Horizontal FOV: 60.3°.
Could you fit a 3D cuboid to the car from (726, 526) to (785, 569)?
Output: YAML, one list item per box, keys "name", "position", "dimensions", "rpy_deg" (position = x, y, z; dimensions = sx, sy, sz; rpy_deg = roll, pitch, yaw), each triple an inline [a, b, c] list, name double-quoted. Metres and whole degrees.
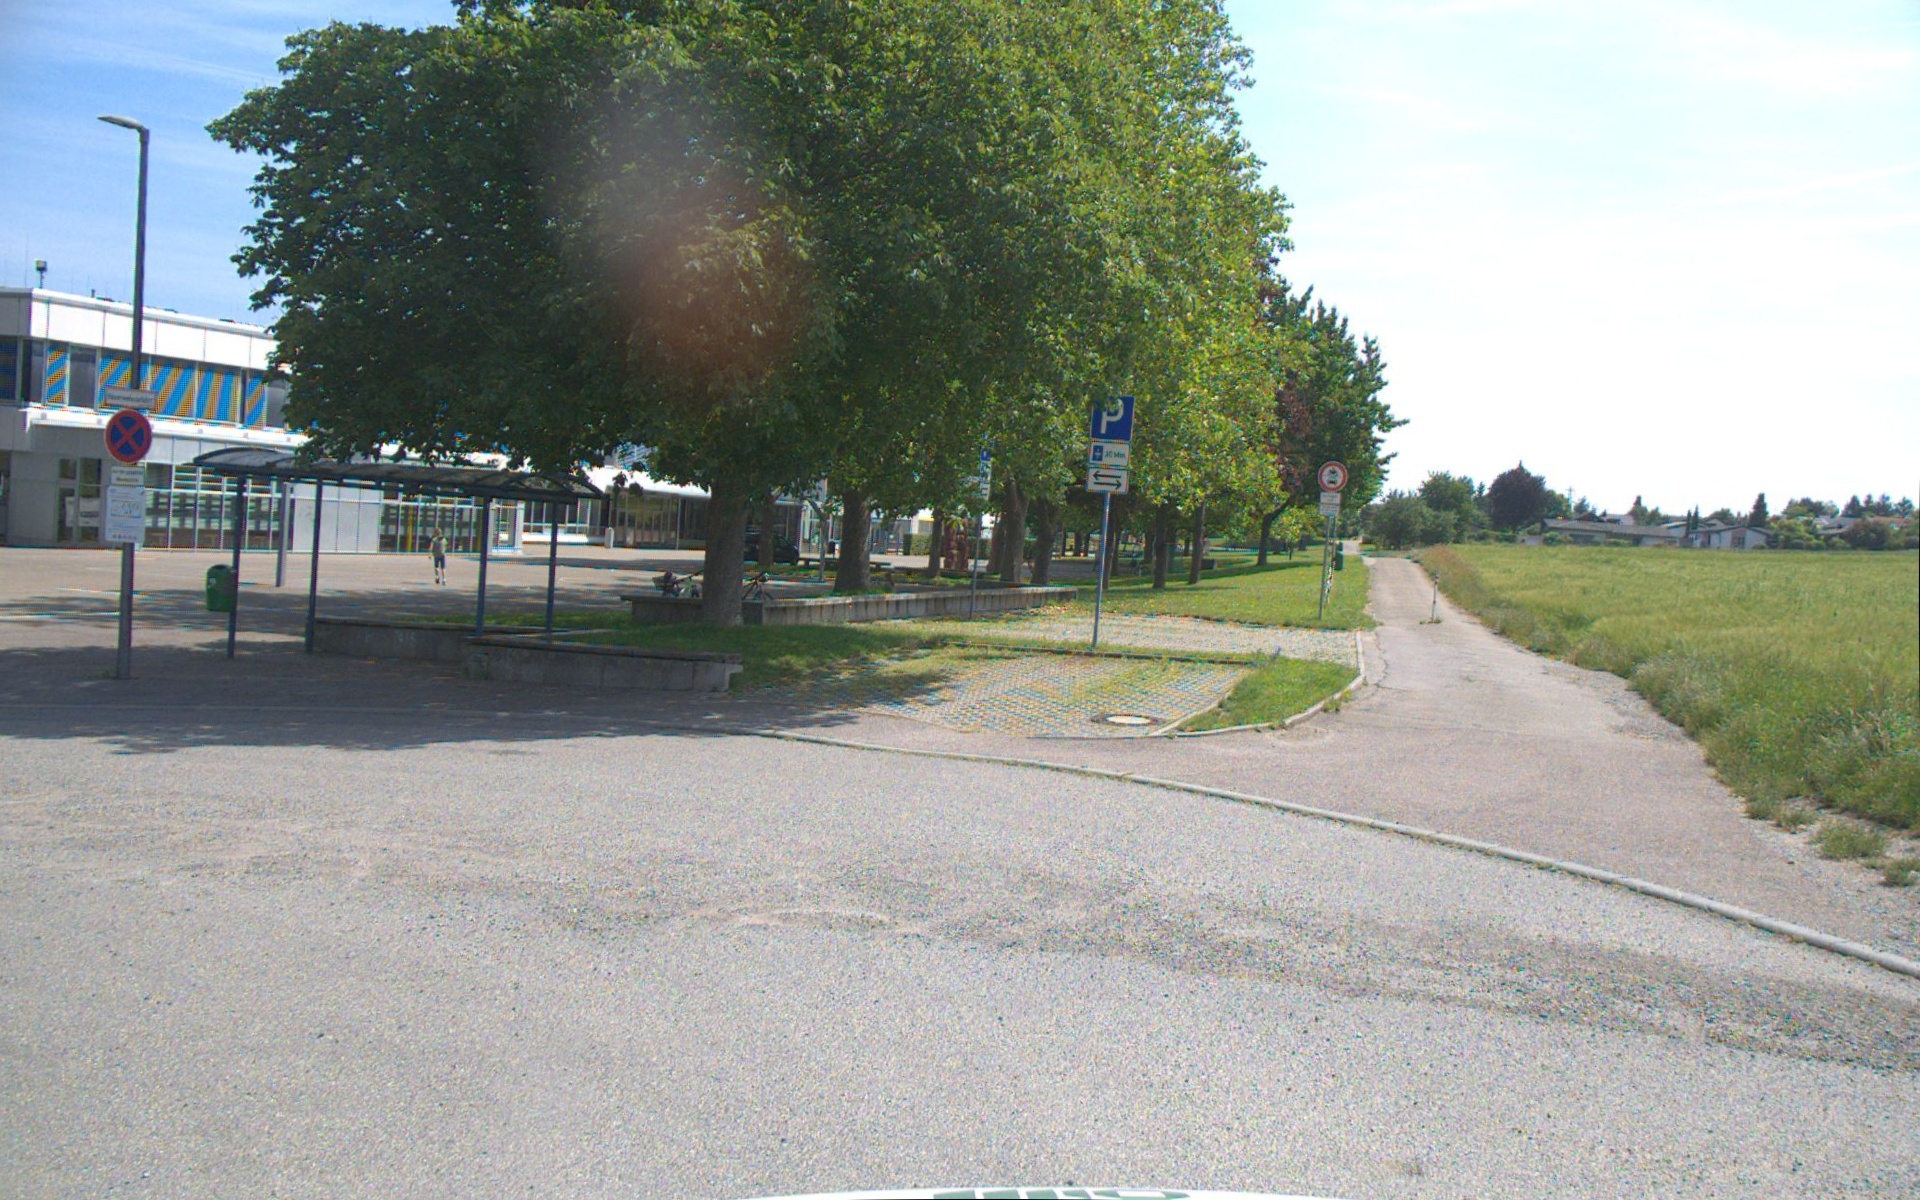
- name: "car"
  position: [-9.375, -2.399, 76.040]
  dimensions: [1.655, 1.866, 3.414]
  rpy_deg: [3, 2, 10]

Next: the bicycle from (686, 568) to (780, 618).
- name: "bicycle"
  position: [-5.149, -0.170, 37.562]
  dimensions: [2.019, 1.057, 0.572]
  rpy_deg: [2, 1, 4]

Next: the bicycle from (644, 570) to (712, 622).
- name: "bicycle"
  position: [-6.055, -0.104, 35.592]
  dimensions: [0.582, 1.057, 1.893]
  rpy_deg: [2, 2, 19]

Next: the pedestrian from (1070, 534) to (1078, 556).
- name: "pedestrian"
  position: [10.819, -5.192, 157.021]
  dimensions: [0.707, 2.049, 0.683]
  rpy_deg: [0, 1, 15]

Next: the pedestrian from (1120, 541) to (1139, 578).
- name: "pedestrian"
  position: [9.473, -2.259, 92.489]
  dimensions: [0.672, 2.048, 0.799]
  rpy_deg: [3, 1, -20]

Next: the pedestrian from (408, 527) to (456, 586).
- name: "pedestrian"
  position: [-13.705, -1.127, 42.923]
  dimensions: [0.908, 1.448, 1.057]
  rpy_deg: [2, 2, -34]

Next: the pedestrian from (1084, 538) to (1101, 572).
- name: "pedestrian"
  position: [8.101, -2.748, 101.170]
  dimensions: [0.816, 2.048, 0.691]
  rpy_deg: [3, 1, -4]
